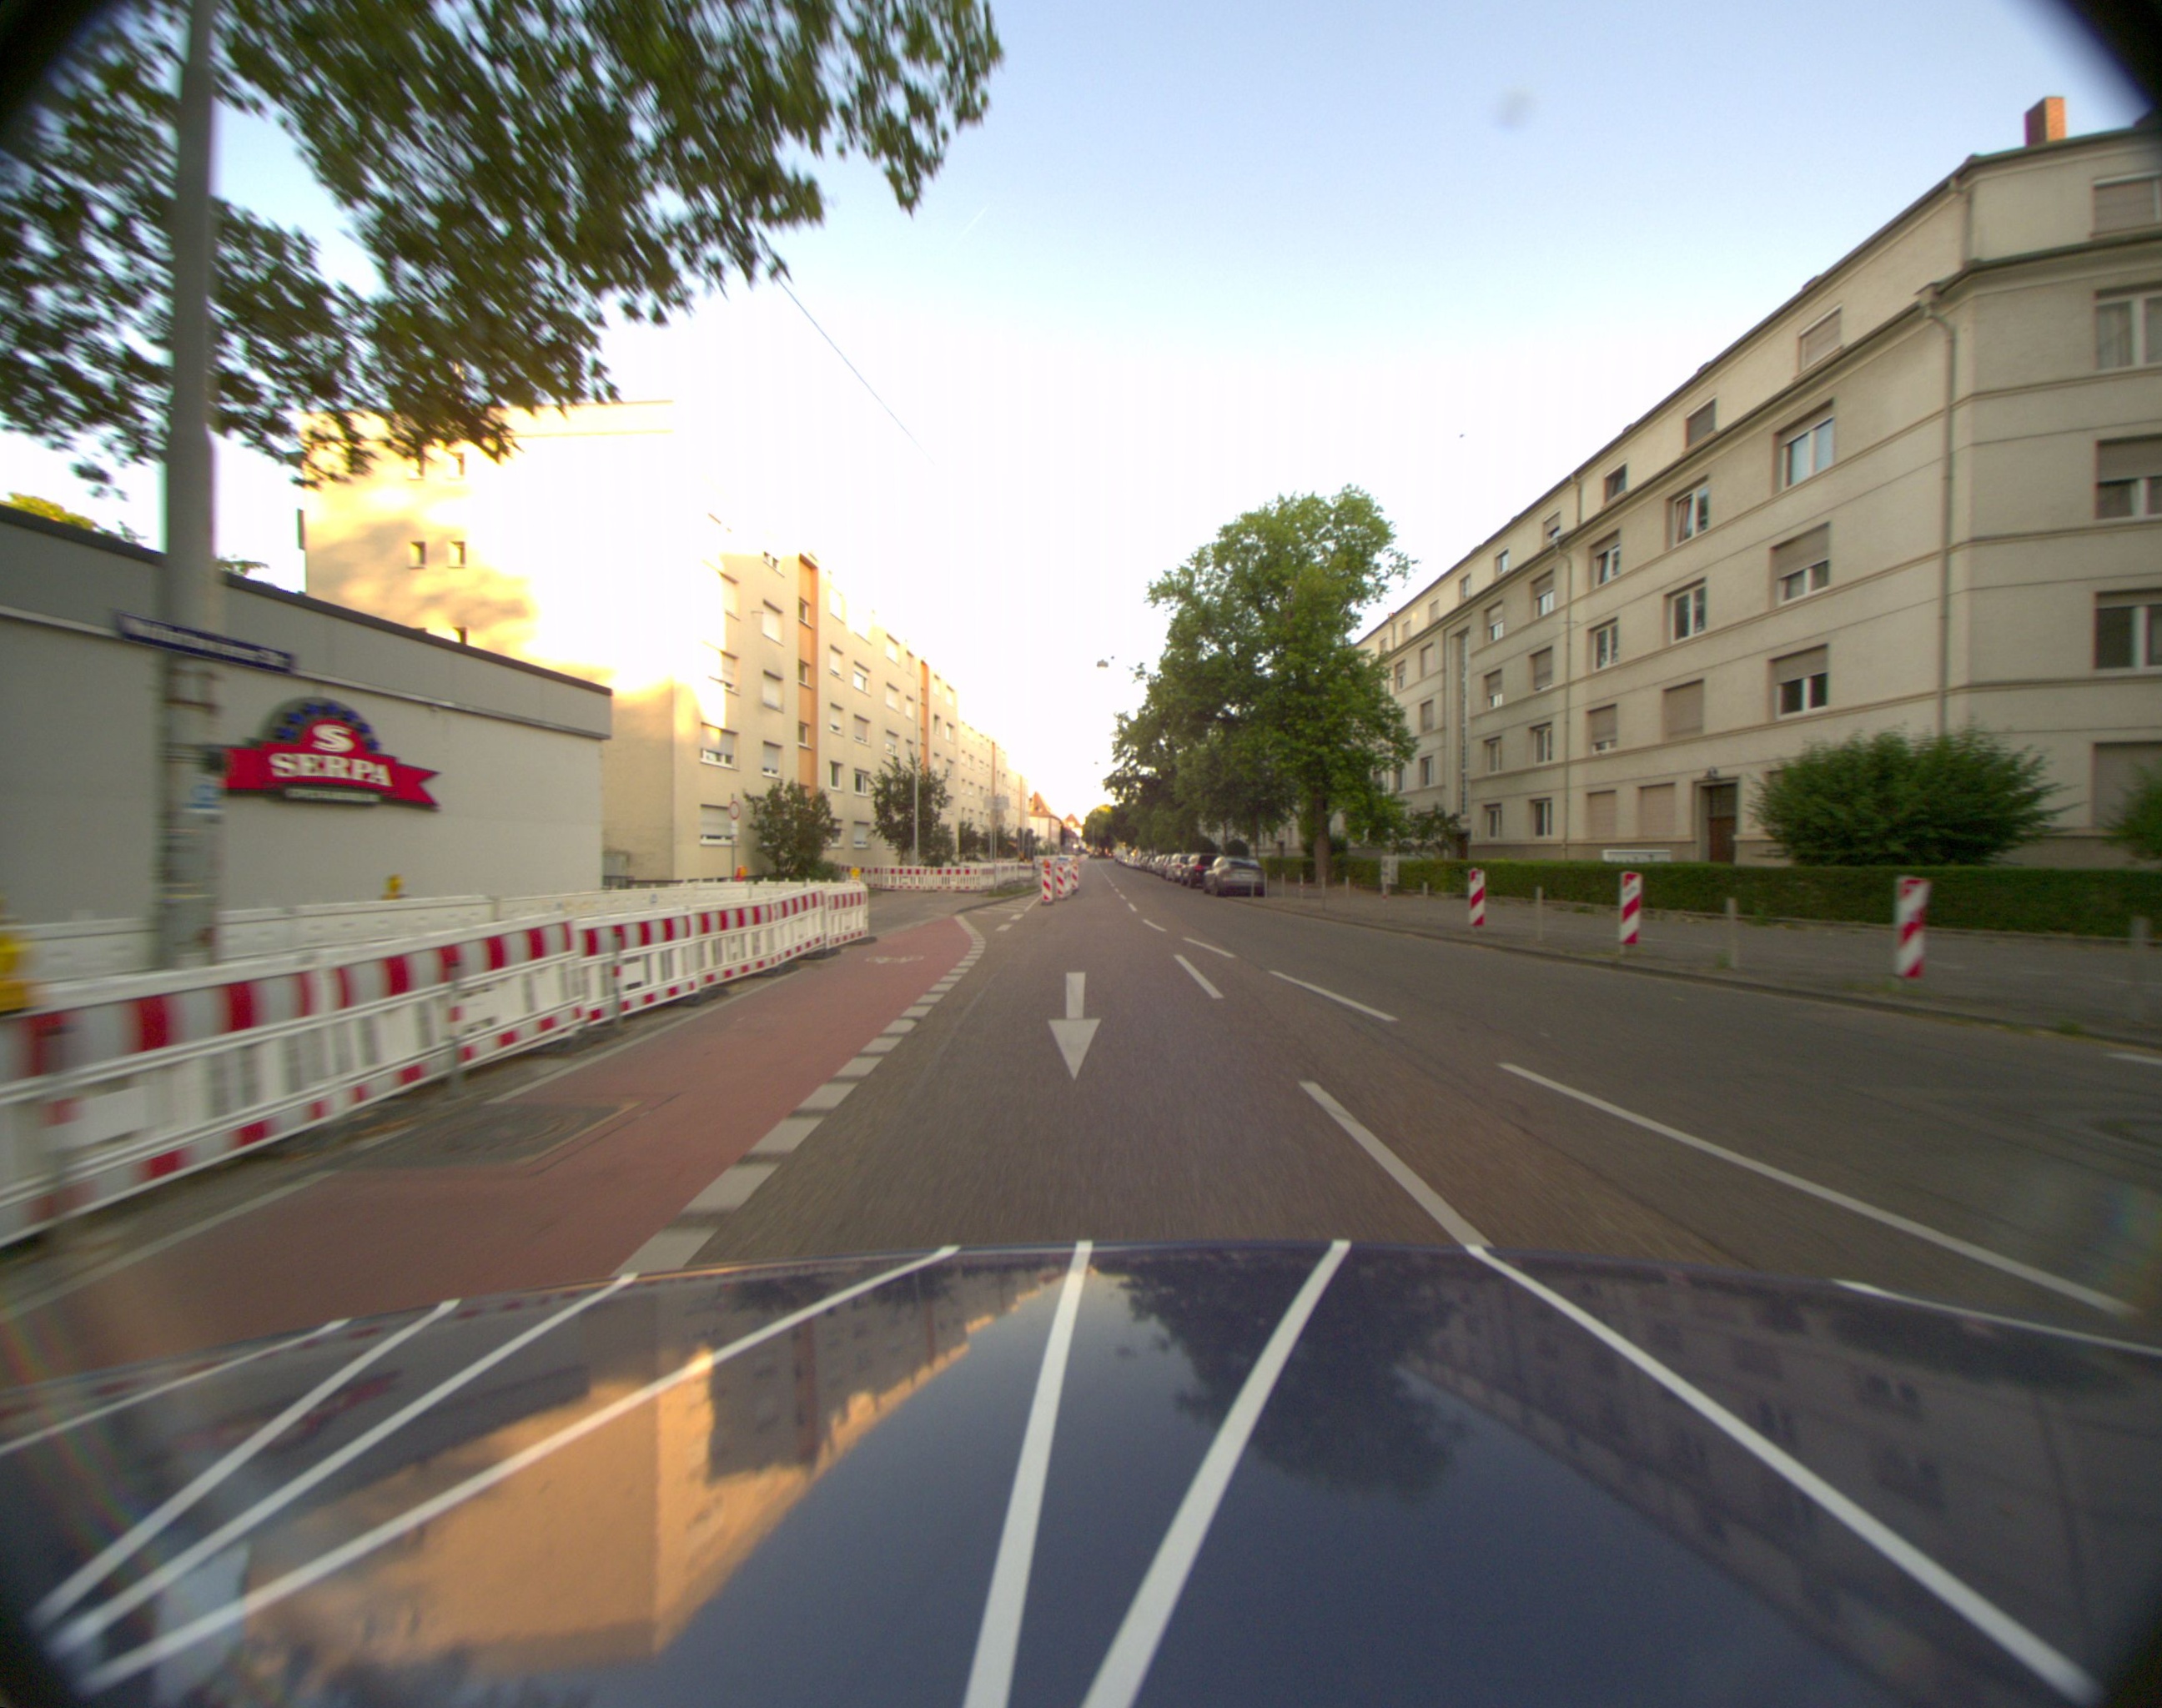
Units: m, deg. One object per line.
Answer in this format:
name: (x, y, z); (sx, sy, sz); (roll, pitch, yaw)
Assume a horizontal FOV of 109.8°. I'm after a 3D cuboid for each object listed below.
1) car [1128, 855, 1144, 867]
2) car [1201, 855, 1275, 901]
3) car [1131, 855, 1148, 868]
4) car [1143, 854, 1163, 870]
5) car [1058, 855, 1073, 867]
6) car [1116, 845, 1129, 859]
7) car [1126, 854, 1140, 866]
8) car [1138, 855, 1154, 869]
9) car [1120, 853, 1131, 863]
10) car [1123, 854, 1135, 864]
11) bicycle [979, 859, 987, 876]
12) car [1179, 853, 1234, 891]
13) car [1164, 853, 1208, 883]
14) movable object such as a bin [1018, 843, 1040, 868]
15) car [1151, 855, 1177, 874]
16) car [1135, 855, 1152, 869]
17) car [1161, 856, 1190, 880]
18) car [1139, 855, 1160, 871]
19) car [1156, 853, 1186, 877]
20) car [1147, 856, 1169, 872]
car: (7.148, 0.887, 98.607); (1.696, 1.451, 4.144); (3, 0, -1)
car: (6.134, 0.890, 30.168); (1.958, 1.607, 4.605); (2, 0, 0)
car: (7.161, 0.894, 93.768); (1.696, 1.451, 4.483); (3, 0, 1)
car: (7.011, 0.763, 74.418); (1.527, 1.520, 3.164); (3, 0, -1)
car: (-2.052, 0.915, 101.698); (1.780, 1.482, 4.573); (4, 0, 2)
car: (8.008, -0.361, 148.012); (2.184, 2.447, 6.103); (3, 0, 1)
car: (7.401, 0.850, 108.293); (1.679, 1.451, 3.704); (3, 0, -2)
car: (7.060, 0.860, 83.232); (1.593, 1.520, 2.922); (3, 0, 3)
car: (7.569, 0.687, 128.857); (1.756, 1.463, 4.224); (3, 0, 2)
car: (7.532, 0.785, 118.825); (1.756, 1.471, 3.944); (3, 0, 2)
bicycle: (-7.273, 0.975, 56.266); (0.399, 1.215, 1.826); (0, 0, -1)
car: (6.212, 0.837, 38.138); (1.958, 1.709, 4.770); (2, 0, 0)
car: (6.216, 0.788, 45.657); (1.851, 1.681, 4.858); (2, 0, -1)
movable object such as a bin: (-5.660, 0.156, 83.008); (1.937, 2.677, 2.892); (0, 0, 5)
car: (7.013, 0.867, 64.861); (1.594, 1.530, 4.205); (3, 0, -1)
car: (7.128, 0.872, 87.456); (1.594, 1.496, 3.799); (3, 0, 1)
car: (6.315, 0.878, 50.946); (1.736, 1.488, 4.272); (2, 0, 5)
car: (7.042, 0.897, 78.431); (1.594, 1.458, 4.101); (3, 0, -1)
car: (6.577, 0.803, 56.054); (1.711, 1.591, 4.116); (3, 0, 1)
car: (7.041, 0.907, 70.049); (1.594, 1.396, 4.181); (3, 0, 1)
